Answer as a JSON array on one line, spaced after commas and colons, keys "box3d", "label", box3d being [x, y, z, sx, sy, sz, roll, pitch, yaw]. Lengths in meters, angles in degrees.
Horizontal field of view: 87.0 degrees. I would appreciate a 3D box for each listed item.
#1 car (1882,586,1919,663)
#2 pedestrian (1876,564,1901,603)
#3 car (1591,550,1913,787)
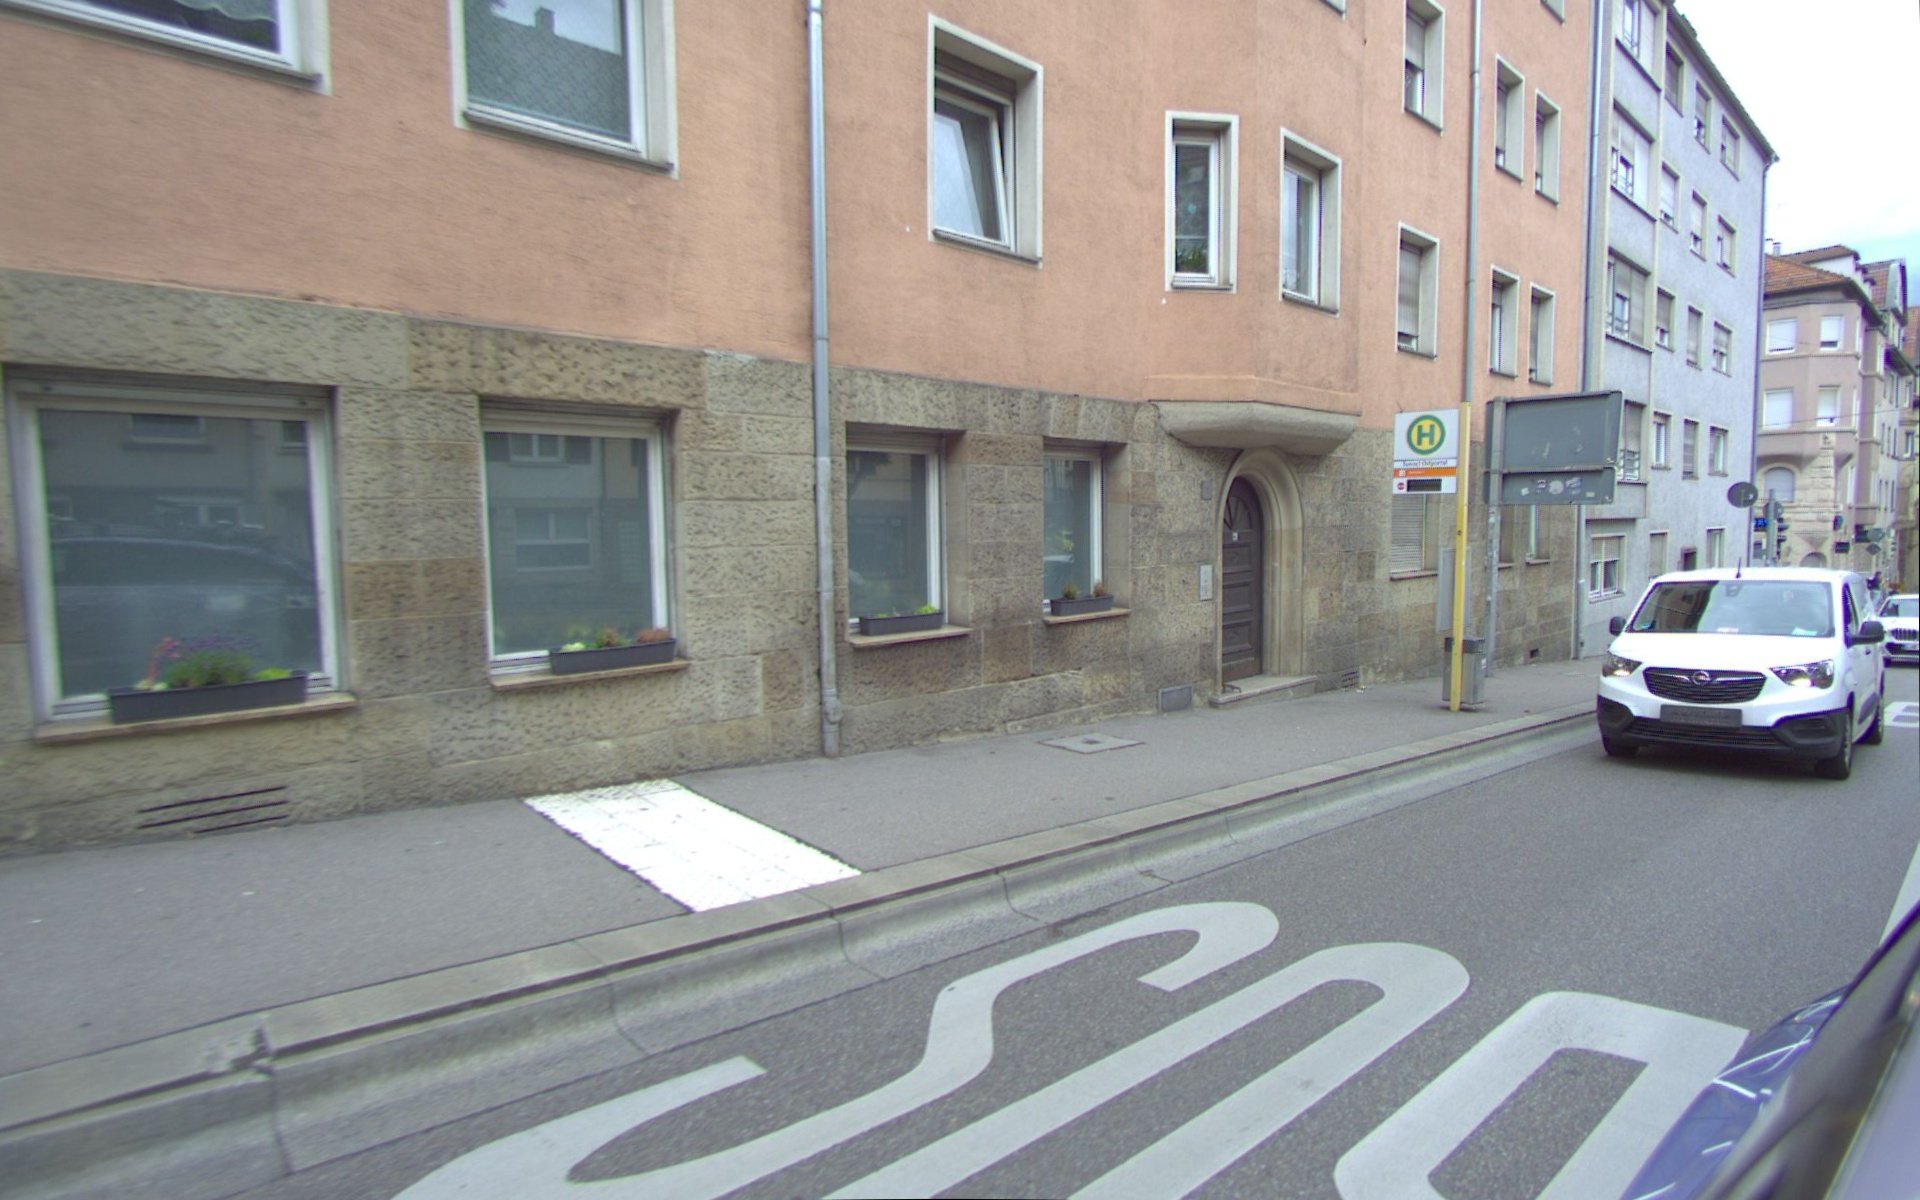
[{"box3d": [22.193, 0.507, 22.843, 4.094, 1.628, 1.777, -1, 0, -44], "label": "car"}, {"box3d": [39.939, -0.721, 43.520, 0.988, 1.668, 0.733, -1, 2, -45], "label": "pedestrian"}, {"box3d": [7.977, 0.466, 9.997, 4.762, 1.811, 1.786, -1, 2, -43], "label": "car"}]
